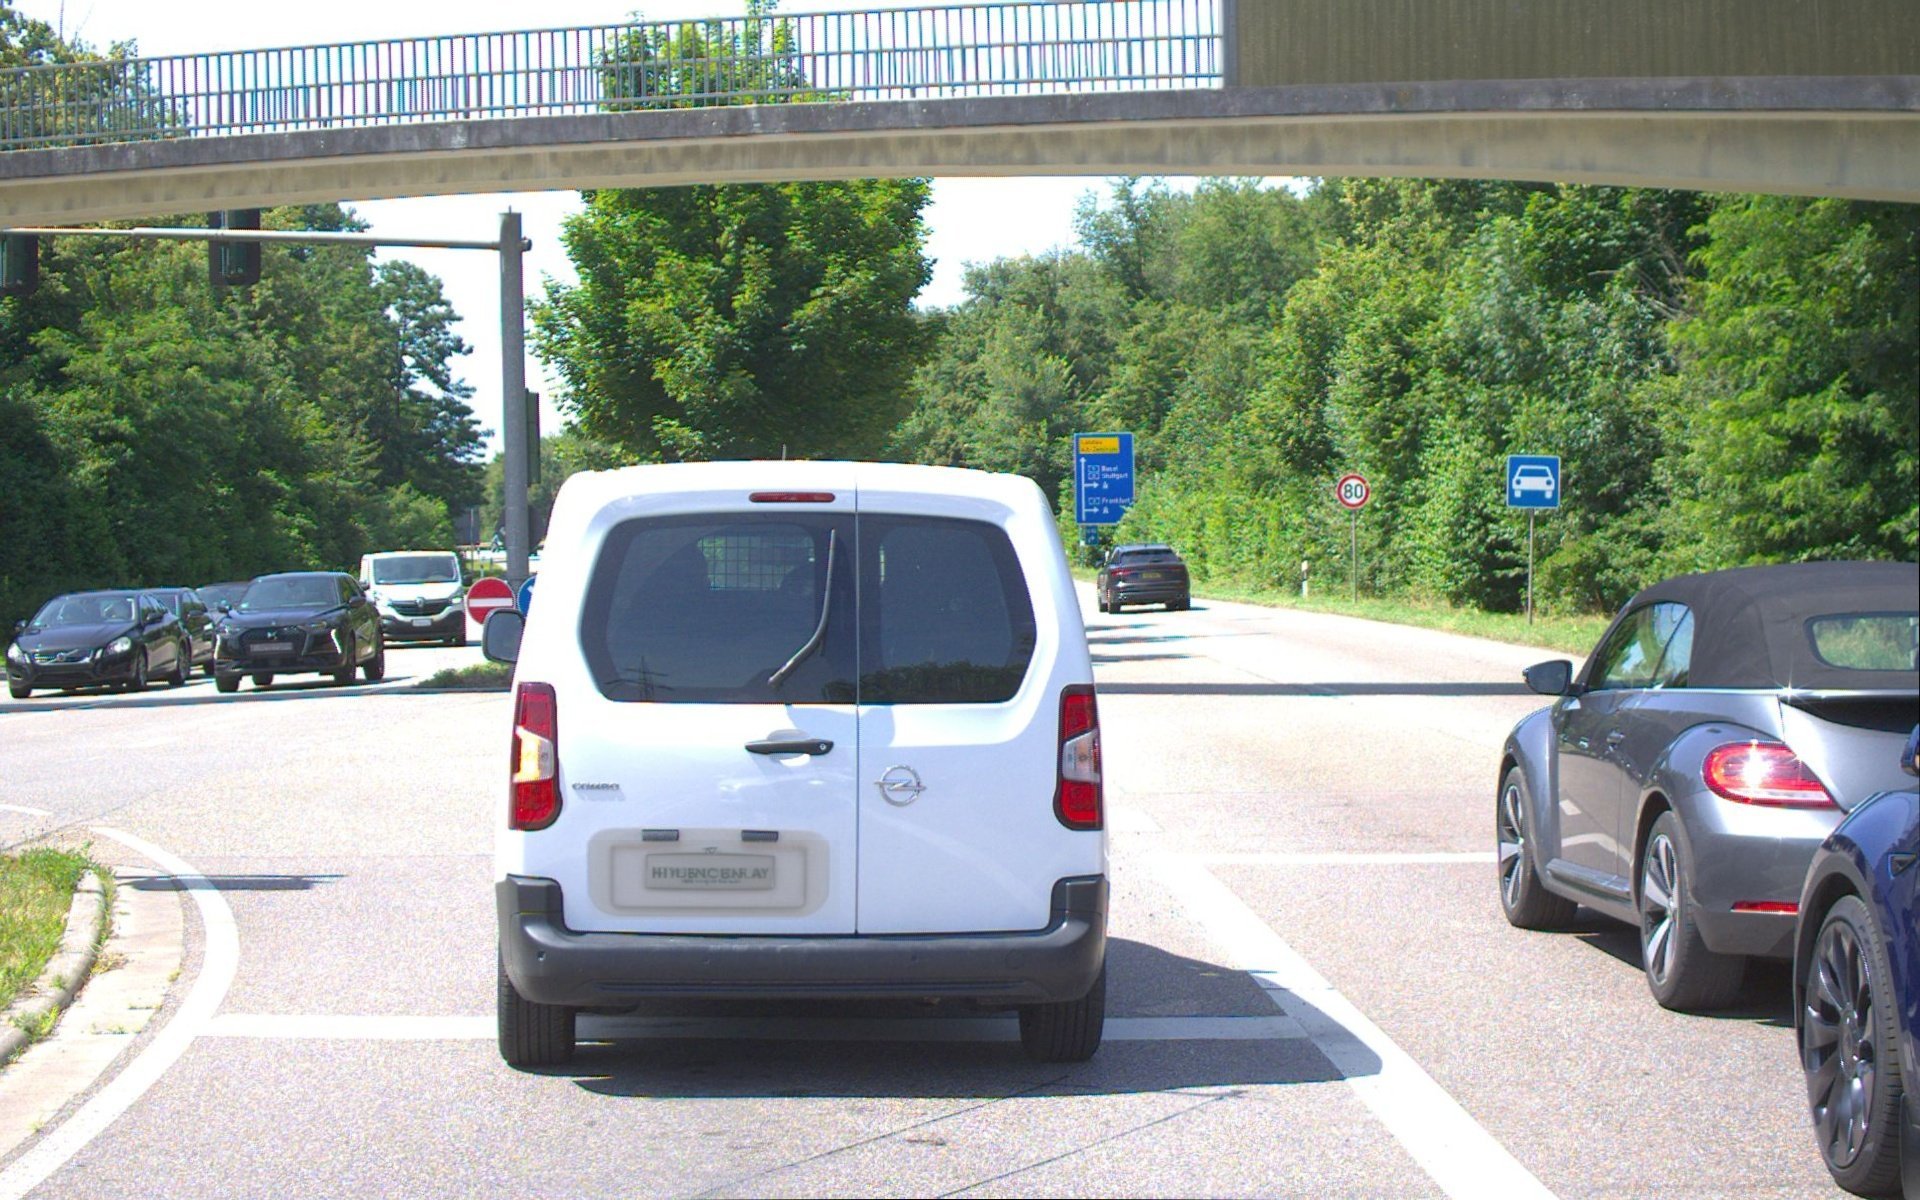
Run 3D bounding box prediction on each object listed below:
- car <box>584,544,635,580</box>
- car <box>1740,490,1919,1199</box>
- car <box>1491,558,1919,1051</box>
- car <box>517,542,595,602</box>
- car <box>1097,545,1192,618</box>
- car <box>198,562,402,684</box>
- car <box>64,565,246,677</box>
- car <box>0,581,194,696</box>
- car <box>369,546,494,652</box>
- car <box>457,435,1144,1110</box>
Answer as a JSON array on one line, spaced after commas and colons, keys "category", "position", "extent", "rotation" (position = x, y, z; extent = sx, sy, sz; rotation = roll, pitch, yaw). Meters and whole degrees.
[{"category": "car", "position": [-16.788, -1.827, 164.733], "extent": [2.008, 1.596, 4.055], "rotation": [-2, 1, -1]}, {"category": "car", "position": [2.981, 0.613, 6.339], "extent": [1.900, 1.639, 4.521], "rotation": [1, 1, -2]}, {"category": "car", "position": [3.208, 0.602, 12.383], "extent": [1.900, 1.472, 3.939], "rotation": [1, 1, -1]}, {"category": "car", "position": [-14.260, -1.013, 121.508], "extent": [2.208, 1.986, 4.734], "rotation": [-2, 1, -1]}, {"category": "car", "position": [4.498, -0.479, 84.668], "extent": [2.042, 1.693, 5.086], "rotation": [-1, 1, 0]}, {"category": "car", "position": [-8.763, 0.266, 45.958], "extent": [1.993, 1.518, 4.028], "rotation": [-1, 1, -1]}, {"category": "car", "position": [-12.859, 0.304, 55.140], "extent": [1.993, 1.659, 4.000], "rotation": [-1, 1, -1]}, {"category": "car", "position": [-12.231, 0.516, 48.396], "extent": [2.008, 1.455, 4.055], "rotation": [-2, 1, -1]}, {"category": "car", "position": [-10.727, -0.036, 70.121], "extent": [2.208, 1.986, 5.489], "rotation": [-2, 1, -6]}, {"category": "car", "position": [-0.495, 0.420, 11.331], "extent": [1.849, 1.819, 3.982], "rotation": [1, 1, -2]}]
